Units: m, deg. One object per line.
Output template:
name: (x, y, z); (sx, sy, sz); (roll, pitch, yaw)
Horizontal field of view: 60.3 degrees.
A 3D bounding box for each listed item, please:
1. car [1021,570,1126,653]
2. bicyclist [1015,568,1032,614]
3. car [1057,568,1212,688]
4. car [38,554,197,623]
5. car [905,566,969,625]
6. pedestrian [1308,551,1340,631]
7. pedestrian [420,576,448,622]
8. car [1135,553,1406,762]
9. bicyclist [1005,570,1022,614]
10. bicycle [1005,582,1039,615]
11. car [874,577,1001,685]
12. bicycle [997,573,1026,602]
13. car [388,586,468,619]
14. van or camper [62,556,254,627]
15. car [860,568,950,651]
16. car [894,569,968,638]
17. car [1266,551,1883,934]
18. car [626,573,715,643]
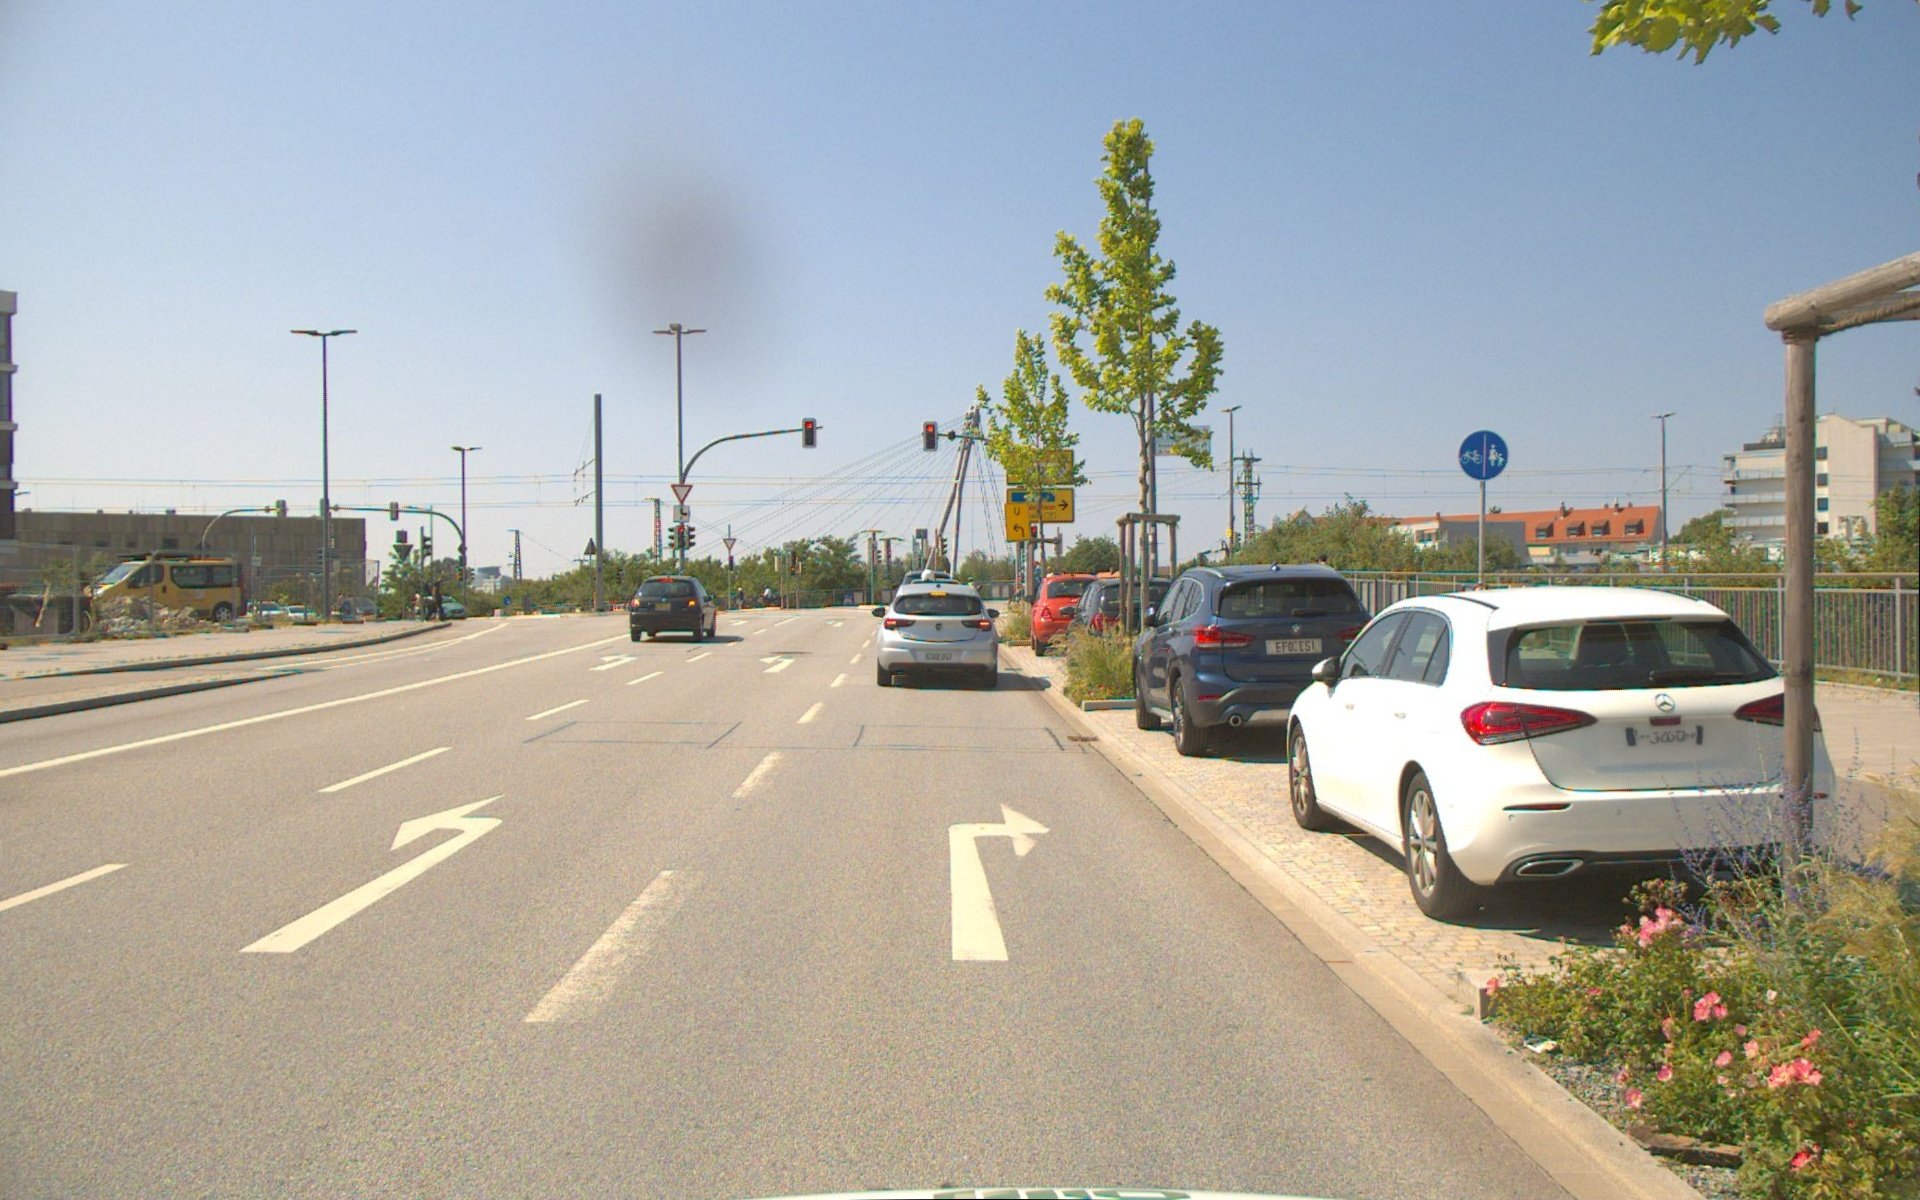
car: (2.219, 0.211, 33.300); (1.742, 1.530, 3.999); (-1, 0, -1)
bicyclist: (2.364, -0.323, 61.328); (0.581, 1.673, 0.312); (1, -2, -7)
car: (2.542, 0.386, 24.965); (1.742, 1.529, 3.999); (-5, 0, -1)
car: (-26.154, -0.346, 51.425); (1.961, 2.049, 3.983); (0, 0, 37)
car: (-0.672, -0.151, 47.136); (1.742, 1.596, 3.999); (-1, 1, -1)
pedestrian: (7.438, -0.173, 33.814); (0.522, 1.603, 0.523); (1, -2, -1)
pedestrian: (-19.276, -0.029, 60.595); (0.828, 1.675, 0.826); (0, 0, -6)
car: (2.733, 0.449, 15.350); (1.785, 1.645, 3.611); (-2, 1, 0)
bicyclist: (2.043, -0.294, 62.673); (0.581, 1.673, 0.312); (1, -2, -7)
bicycle: (2.341, -0.069, 62.690); (1.216, 1.218, 0.481); (1, -2, -8)
car: (-0.351, 0.394, 24.872); (1.742, 1.467, 3.999); (-1, 1, -1)
bicycle: (2.273, -0.554, 72.810); (1.216, 1.218, 0.481); (1, -2, -8)
car: (-30.752, 0.168, 95.699); (3.902, 1.803, 2.001); (1, -2, 12)
van or camper: (-23.605, -0.211, 48.834); (1.964, 1.930, 4.690); (-1, -2, 41)
car: (-1.116, 0.157, 34.262); (1.742, 1.596, 3.999); (-1, 1, -1)
car: (-0.720, 0.052, 41.056); (1.742, 1.596, 3.999); (-1, 1, -1)
car: (2.896, 0.573, 8.844); (1.662, 1.501, 4.205); (-2, 0, -1)
car: (-6.601, 0.147, 38.024); (1.587, 1.440, 3.725); (-2, 2, -4)
